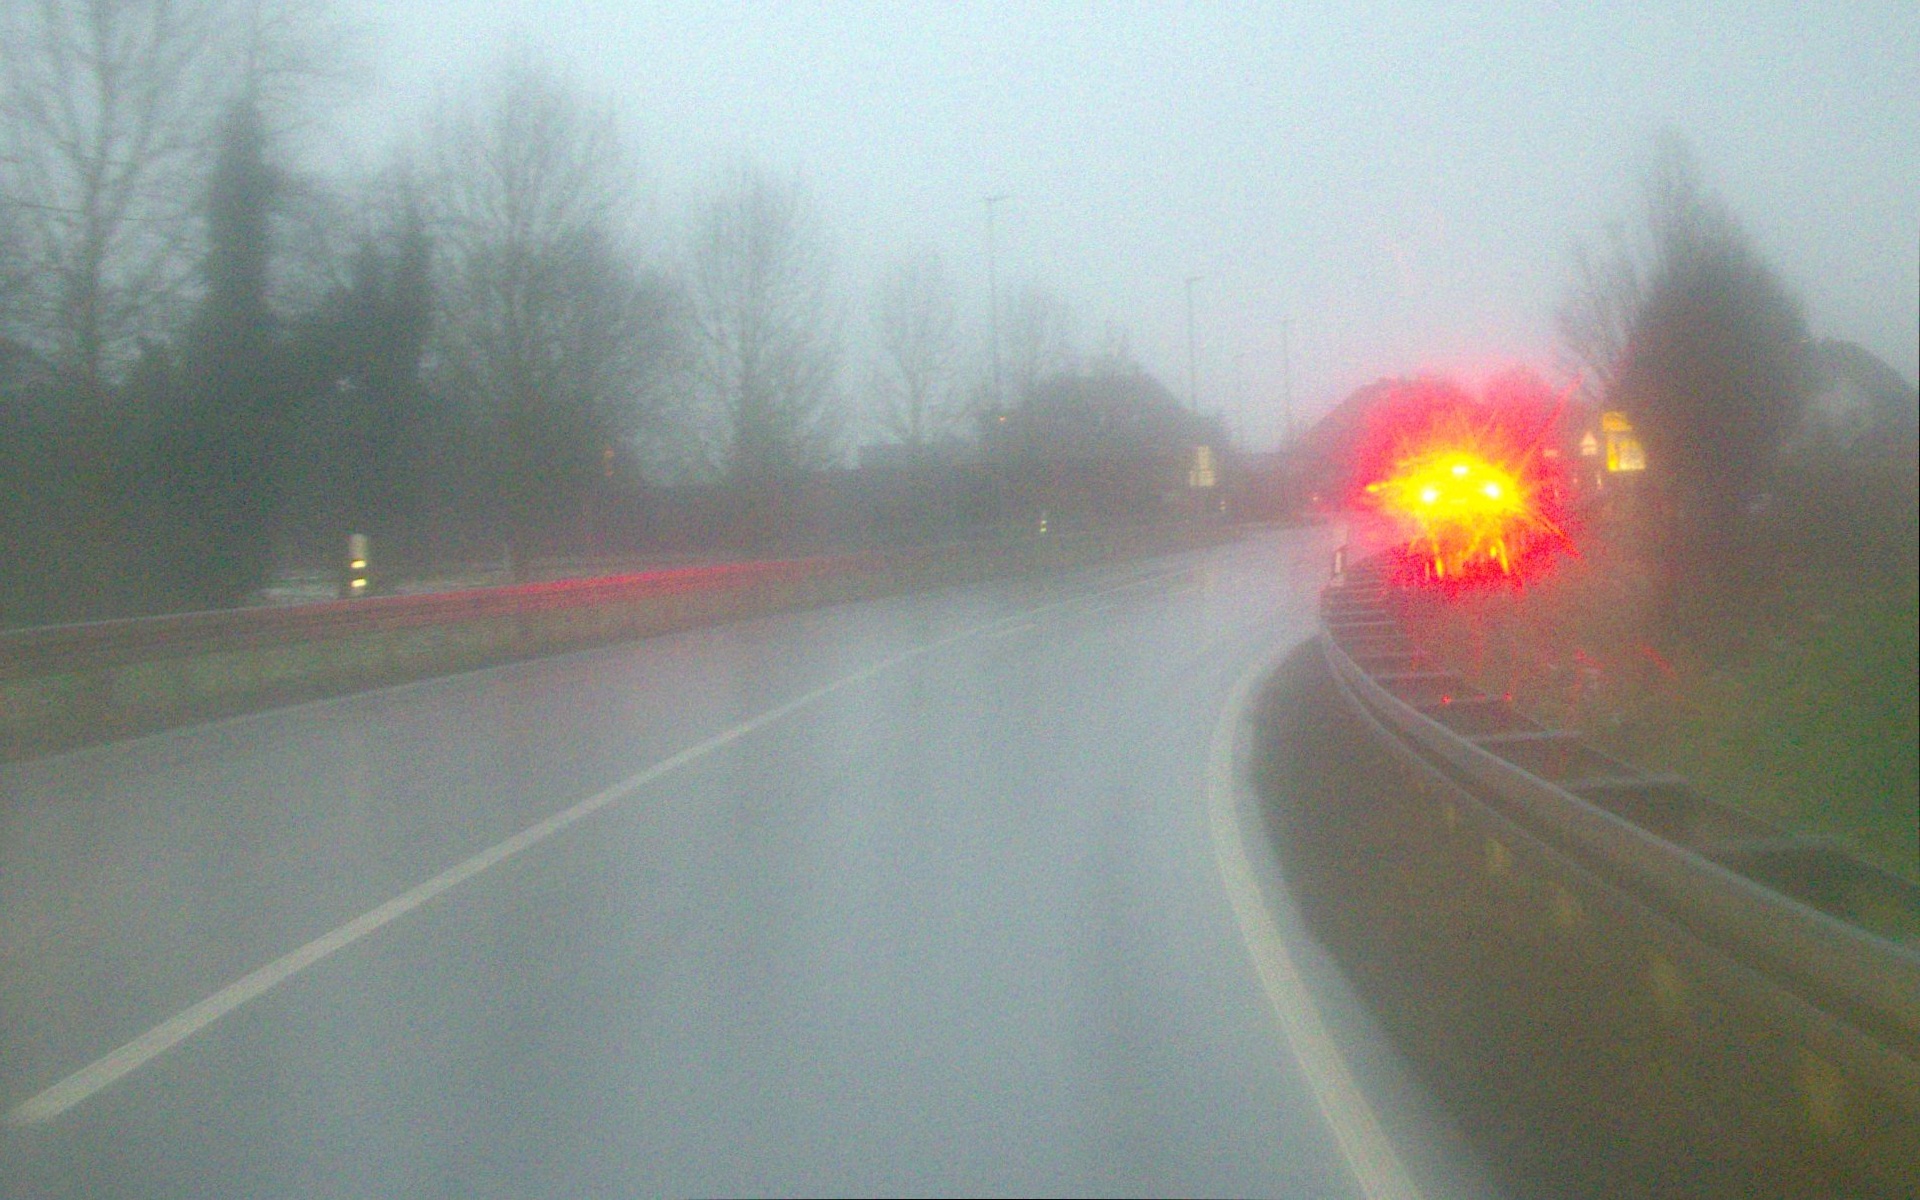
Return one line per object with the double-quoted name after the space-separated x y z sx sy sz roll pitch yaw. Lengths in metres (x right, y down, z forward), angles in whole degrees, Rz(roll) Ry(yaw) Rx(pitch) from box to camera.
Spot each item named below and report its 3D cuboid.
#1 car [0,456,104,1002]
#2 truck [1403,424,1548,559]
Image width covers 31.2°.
-3.885 0.412 8.899 1.994 1.615 4.598 2 2 2 "car"
12.091 -2.585 80.269 2.533 2.859 5.919 -4 2 15 "truck"
